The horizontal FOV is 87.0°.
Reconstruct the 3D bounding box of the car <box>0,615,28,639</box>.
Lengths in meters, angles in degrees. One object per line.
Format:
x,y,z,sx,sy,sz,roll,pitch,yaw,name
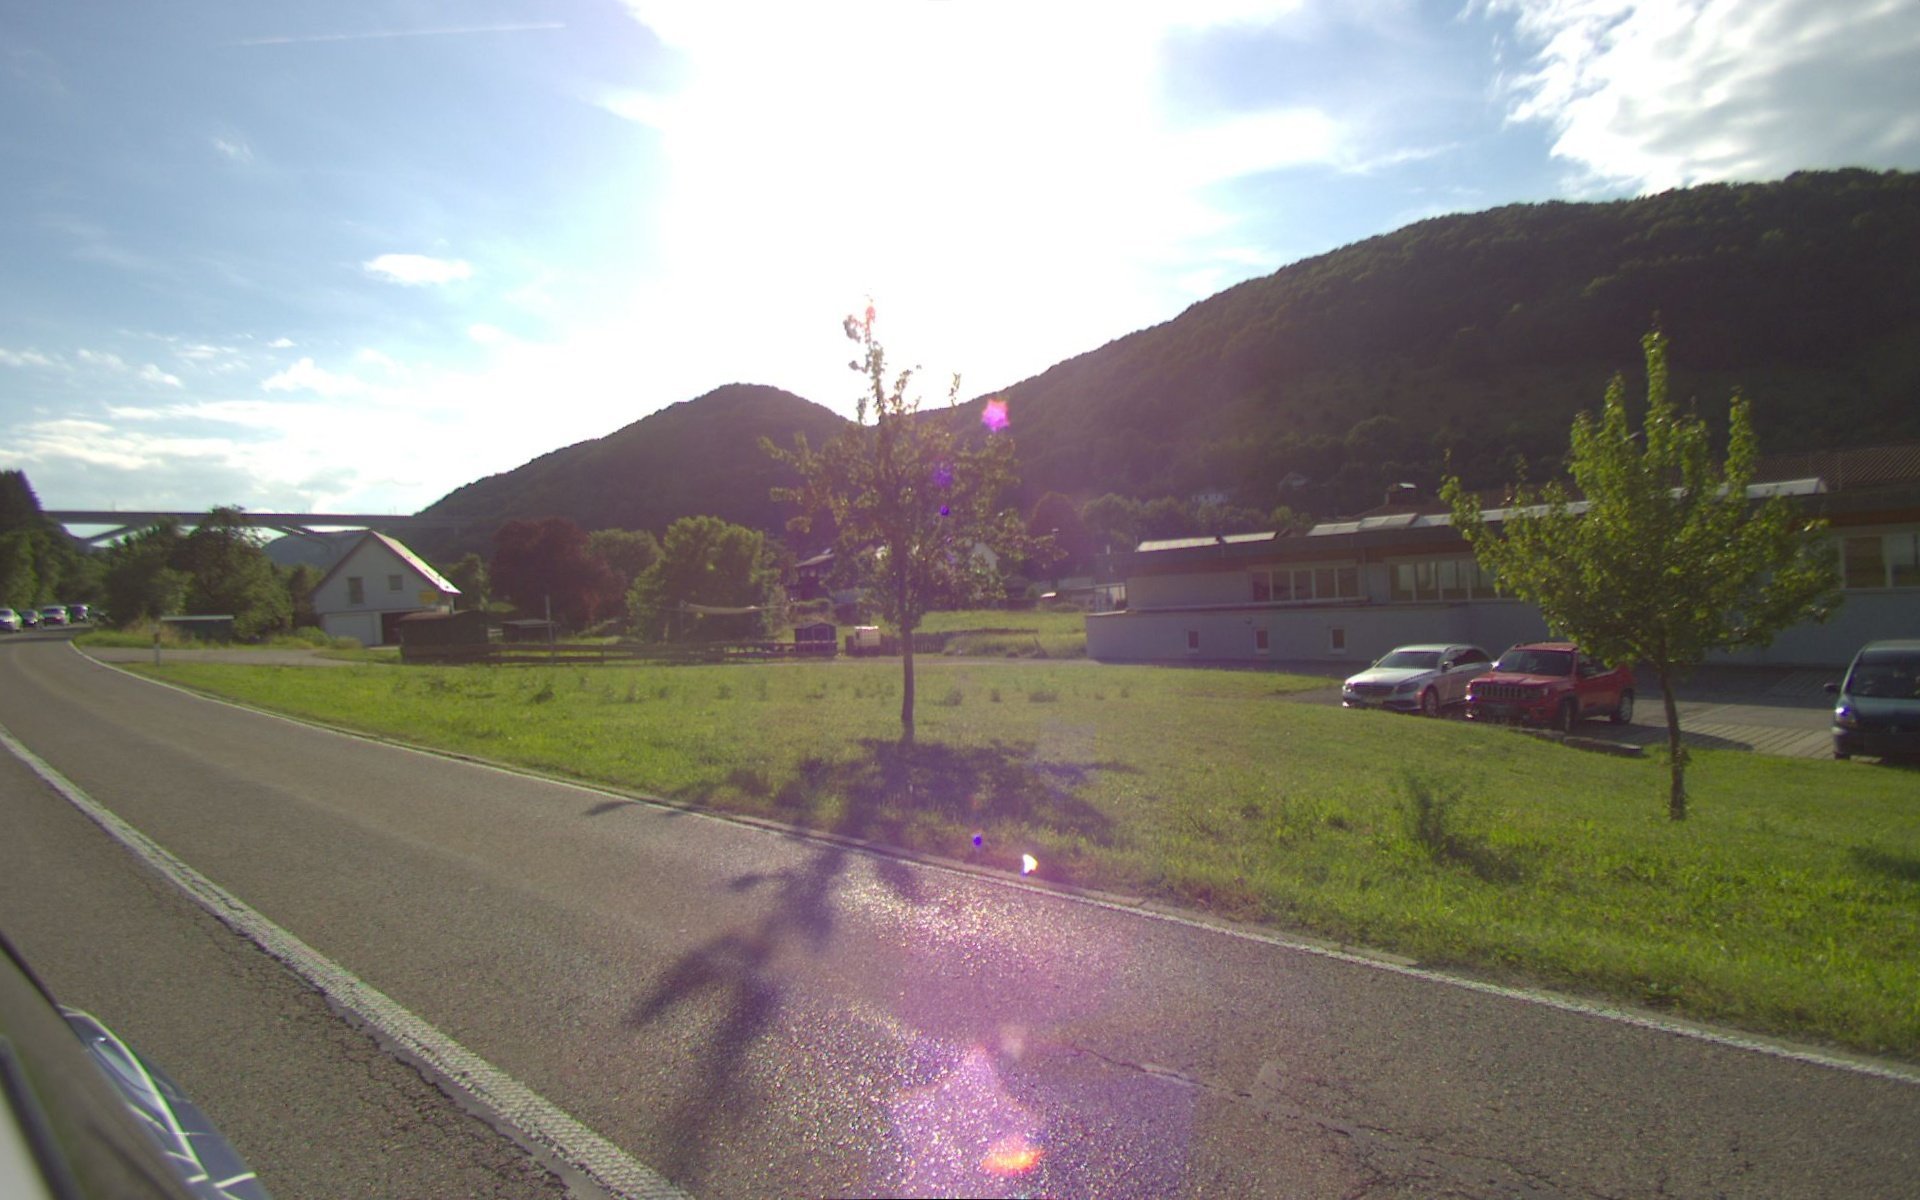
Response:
-61.883,1.747,65.794,3.679,1.490,1.609,0,0,42,car

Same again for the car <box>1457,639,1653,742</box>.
12.060,1.733,20.436,4.264,1.682,1.852,-1,0,-36,car

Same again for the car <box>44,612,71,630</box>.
-80.783,1.848,90.540,3.681,1.490,1.607,0,0,45,car

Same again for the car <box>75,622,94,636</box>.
-99.118,3.247,114.551,1.606,1.490,3.685,-1,0,-41,car

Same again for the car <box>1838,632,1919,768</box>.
15.809,1.522,16.480,4.931,1.807,1.687,-1,0,-42,car

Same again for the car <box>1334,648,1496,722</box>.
10.408,1.862,23.065,3.837,1.379,1.856,0,0,-39,car

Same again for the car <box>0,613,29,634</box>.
-71.892,1.747,76.834,1.606,1.490,3.685,-1,0,-41,car
